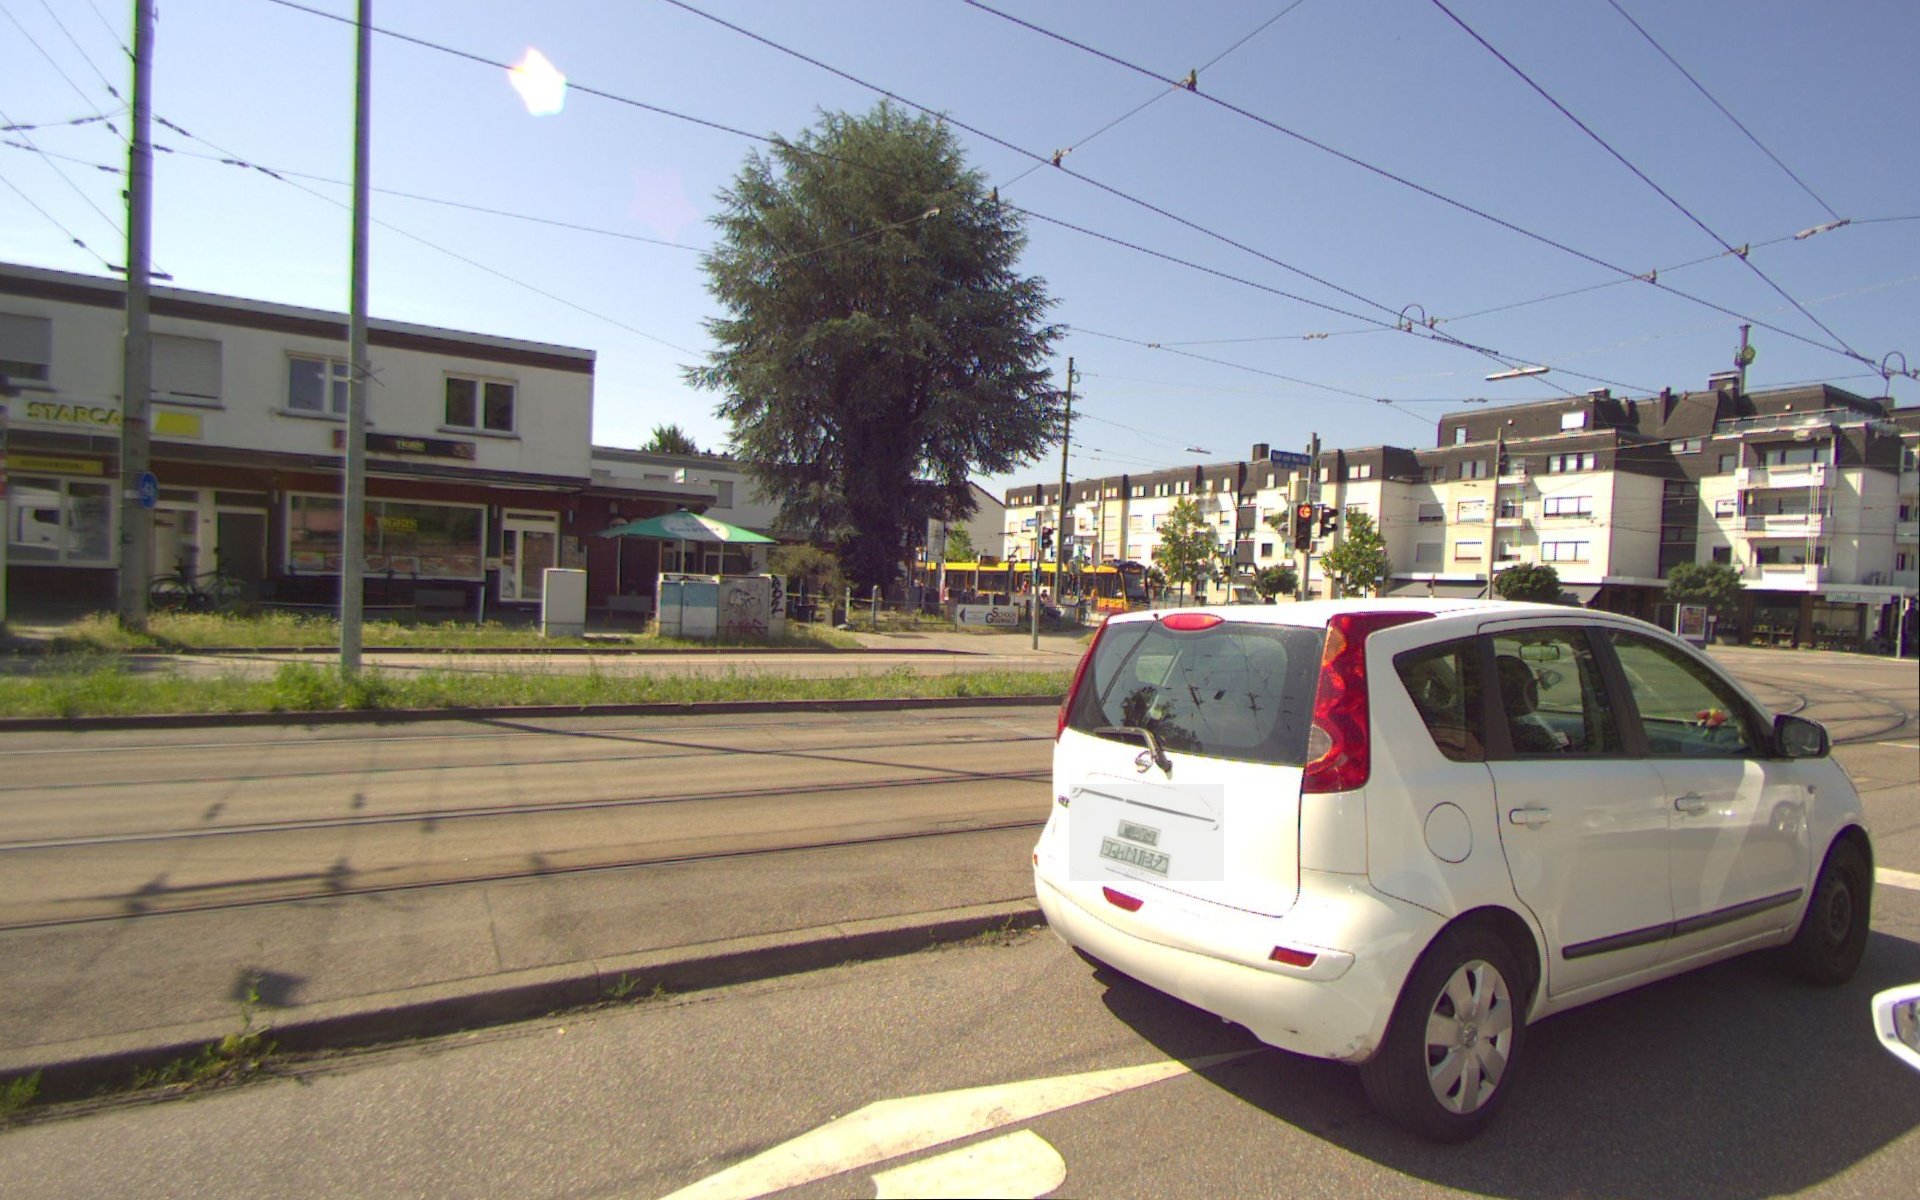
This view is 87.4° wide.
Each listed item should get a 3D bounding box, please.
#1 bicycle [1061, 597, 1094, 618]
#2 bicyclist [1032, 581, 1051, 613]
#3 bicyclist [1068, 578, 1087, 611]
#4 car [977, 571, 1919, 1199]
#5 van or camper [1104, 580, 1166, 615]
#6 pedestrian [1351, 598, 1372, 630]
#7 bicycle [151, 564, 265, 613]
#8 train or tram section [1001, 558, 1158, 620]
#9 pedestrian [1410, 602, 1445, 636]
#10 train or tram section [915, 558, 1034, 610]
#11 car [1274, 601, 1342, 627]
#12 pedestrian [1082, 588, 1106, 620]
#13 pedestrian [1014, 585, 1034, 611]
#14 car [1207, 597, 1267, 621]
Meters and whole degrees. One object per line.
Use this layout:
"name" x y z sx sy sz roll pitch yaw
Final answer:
"bicycle" 5.675 0.352 48.731 0.528 0.959 2.123 2 1 -24
"bicyclist" 4.200 -0.159 51.664 0.623 1.596 0.761 2 1 -25
"bicyclist" 5.693 -0.256 48.668 0.622 1.579 0.762 2 0 -21
"car" 2.254 0.774 4.260 4.019 1.582 1.757 2 0 -30
"van or camper" 14.308 -0.218 82.465 2.349 2.659 4.850 2 1 -31
"pedestrian" 22.855 0.796 57.209 0.796 1.783 0.763 2 1 -3
"bicycle" -16.341 -0.246 21.881 1.889 0.996 0.754 2 1 -30
"train or tram section" 7.613 -0.887 67.492 2.736 3.707 13.796 2 1 -30
"pedestrian" 26.590 1.071 57.179 1.410 1.860 1.123 2 1 5
"train or tram section" 0.821 -1.354 79.493 2.736 3.707 13.796 2 1 -30
"car" 23.243 0.899 67.224 1.807 1.520 4.151 2 1 -30
"pedestrian" 8.095 0.216 60.679 0.886 1.862 1.192 2 1 -30
"pedestrian" 4.324 -0.145 67.718 0.804 1.703 1.085 2 1 -30
"car" 19.974 0.645 72.549 1.807 1.520 3.967 2 1 -30
